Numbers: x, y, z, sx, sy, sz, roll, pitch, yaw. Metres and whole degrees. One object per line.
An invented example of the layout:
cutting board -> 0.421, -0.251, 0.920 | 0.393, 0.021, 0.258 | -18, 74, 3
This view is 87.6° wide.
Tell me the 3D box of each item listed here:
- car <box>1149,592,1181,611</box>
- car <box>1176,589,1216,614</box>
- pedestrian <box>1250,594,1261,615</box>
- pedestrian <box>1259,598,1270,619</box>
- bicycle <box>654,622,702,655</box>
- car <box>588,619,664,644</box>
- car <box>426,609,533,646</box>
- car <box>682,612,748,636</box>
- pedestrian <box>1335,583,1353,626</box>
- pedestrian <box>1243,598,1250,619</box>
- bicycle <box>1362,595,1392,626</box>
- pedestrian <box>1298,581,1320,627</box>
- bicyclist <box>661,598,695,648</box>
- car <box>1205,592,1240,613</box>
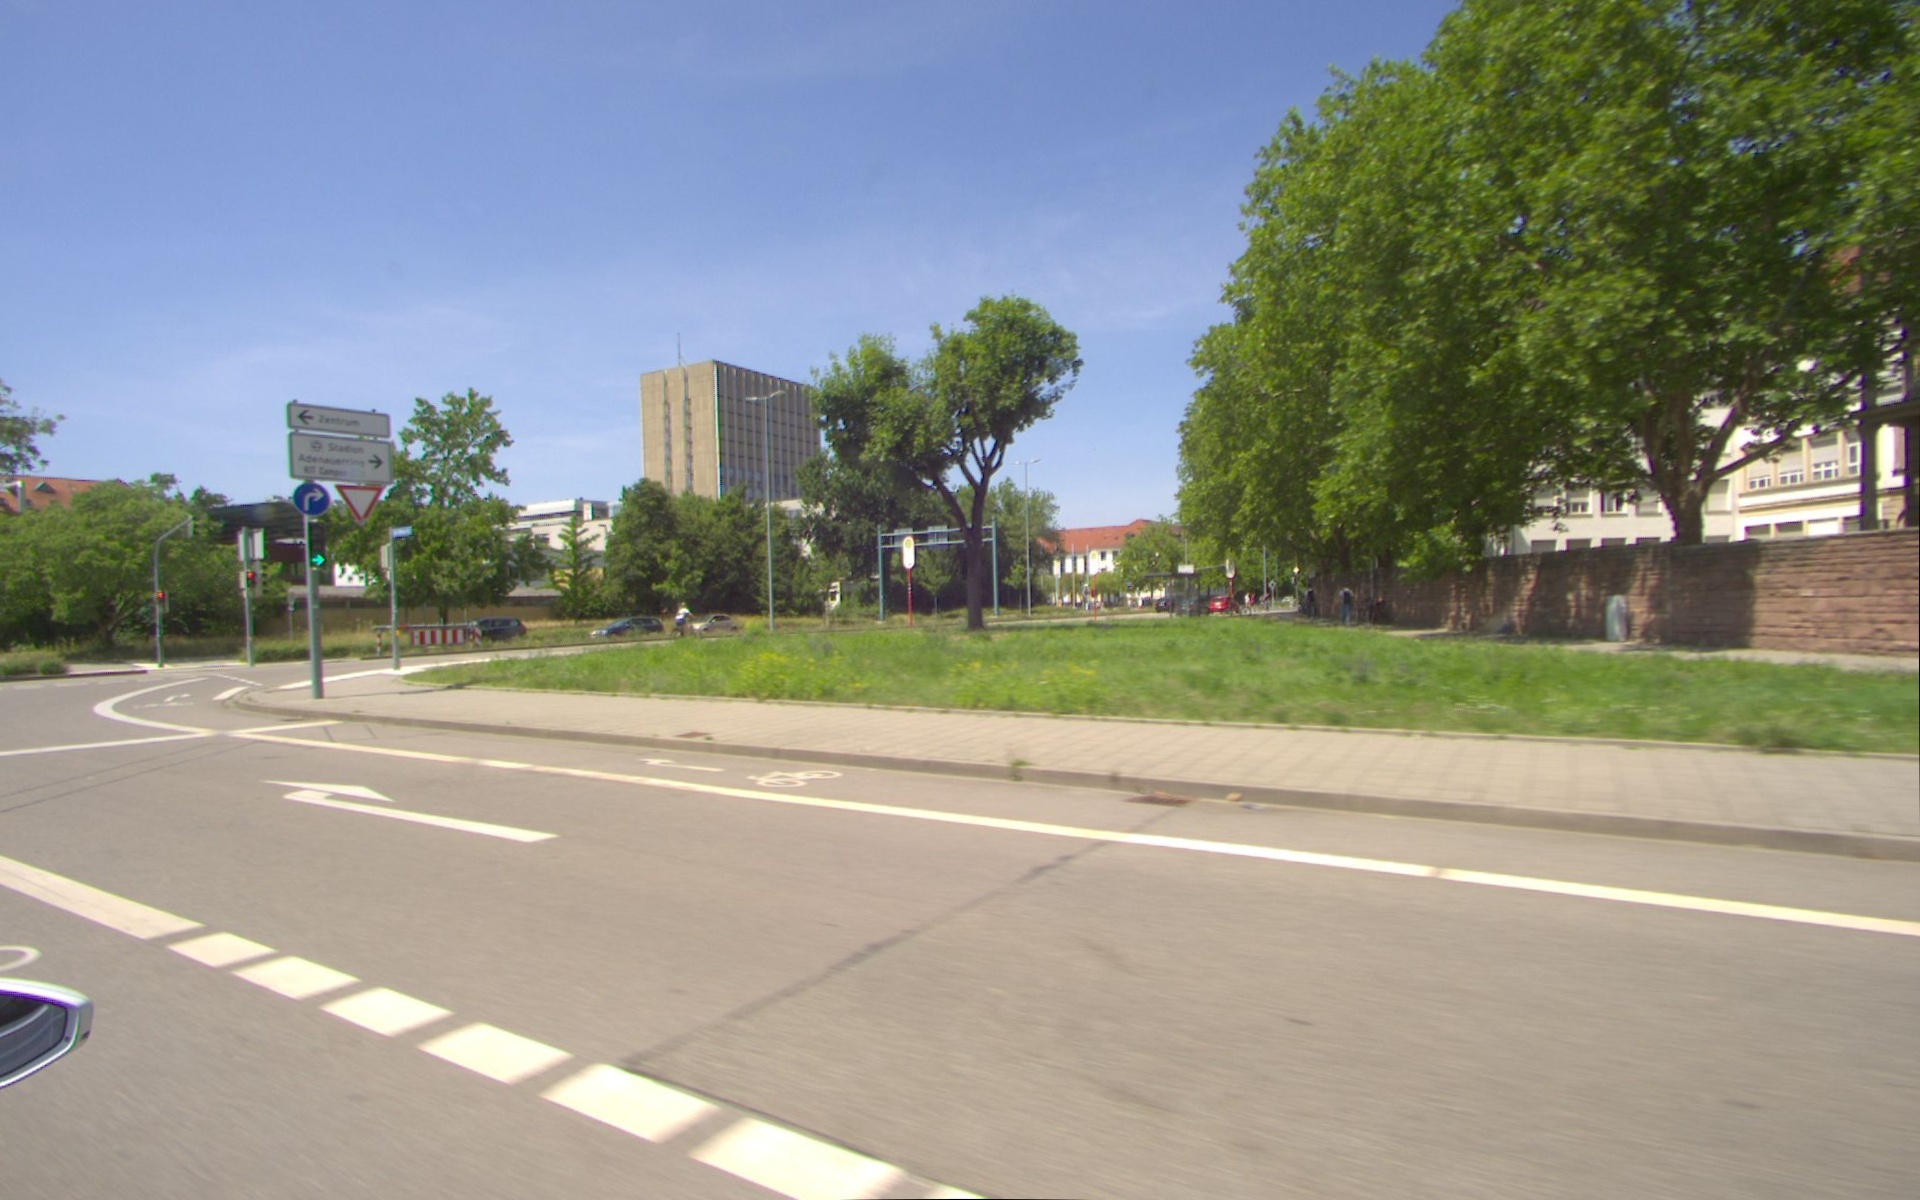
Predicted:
car -> 19.581, 0.136, 95.370 | 1.752, 1.689, 3.981 | -1, -2, 31
car -> 20.147, 0.162, 85.369 | 1.972, 2.039, 4.192 | -1, -2, 33
pedestrian -> 28.661, 0.472, 97.276 | 0.778, 2.039, 0.959 | -1, -1, 33
pedestrian -> 29.619, 0.817, 97.391 | 0.778, 2.039, 0.836 | -1, -1, 33
bicycle -> -10.858, 1.489, 38.666 | 0.512, 1.253, 2.186 | -1, -2, 24
car -> -19.007, 1.806, 57.106 | 1.734, 1.327, 3.981 | -1, -2, 31
car -> -24.042, 1.358, 50.227 | 1.688, 1.607, 4.522 | -2, 0, 38
car -> -15.403, 1.514, 63.087 | 1.734, 1.457, 3.981 | -1, -2, 31
pedestrian -> 16.016, 0.192, 41.775 | 0.578, 1.743, 0.527 | 0, -1, 8
pedestrian -> 27.700, 0.809, 96.804 | 0.542, 2.039, 0.533 | -1, -1, 34
bicycle -> 16.850, 0.422, 40.482 | 0.449, 1.197, 2.170 | 0, -2, 4
pedestrian -> 18.063, 0.223, 51.847 | 0.833, 2.320, 1.075 | 0, -1, 8
bicyclist -> -10.896, 0.899, 38.683 | 0.697, 1.911, 1.136 | -1, -1, 23
car -> 23.583, 0.244, 89.947 | 1.758, 1.705, 3.976 | -1, -2, 35
